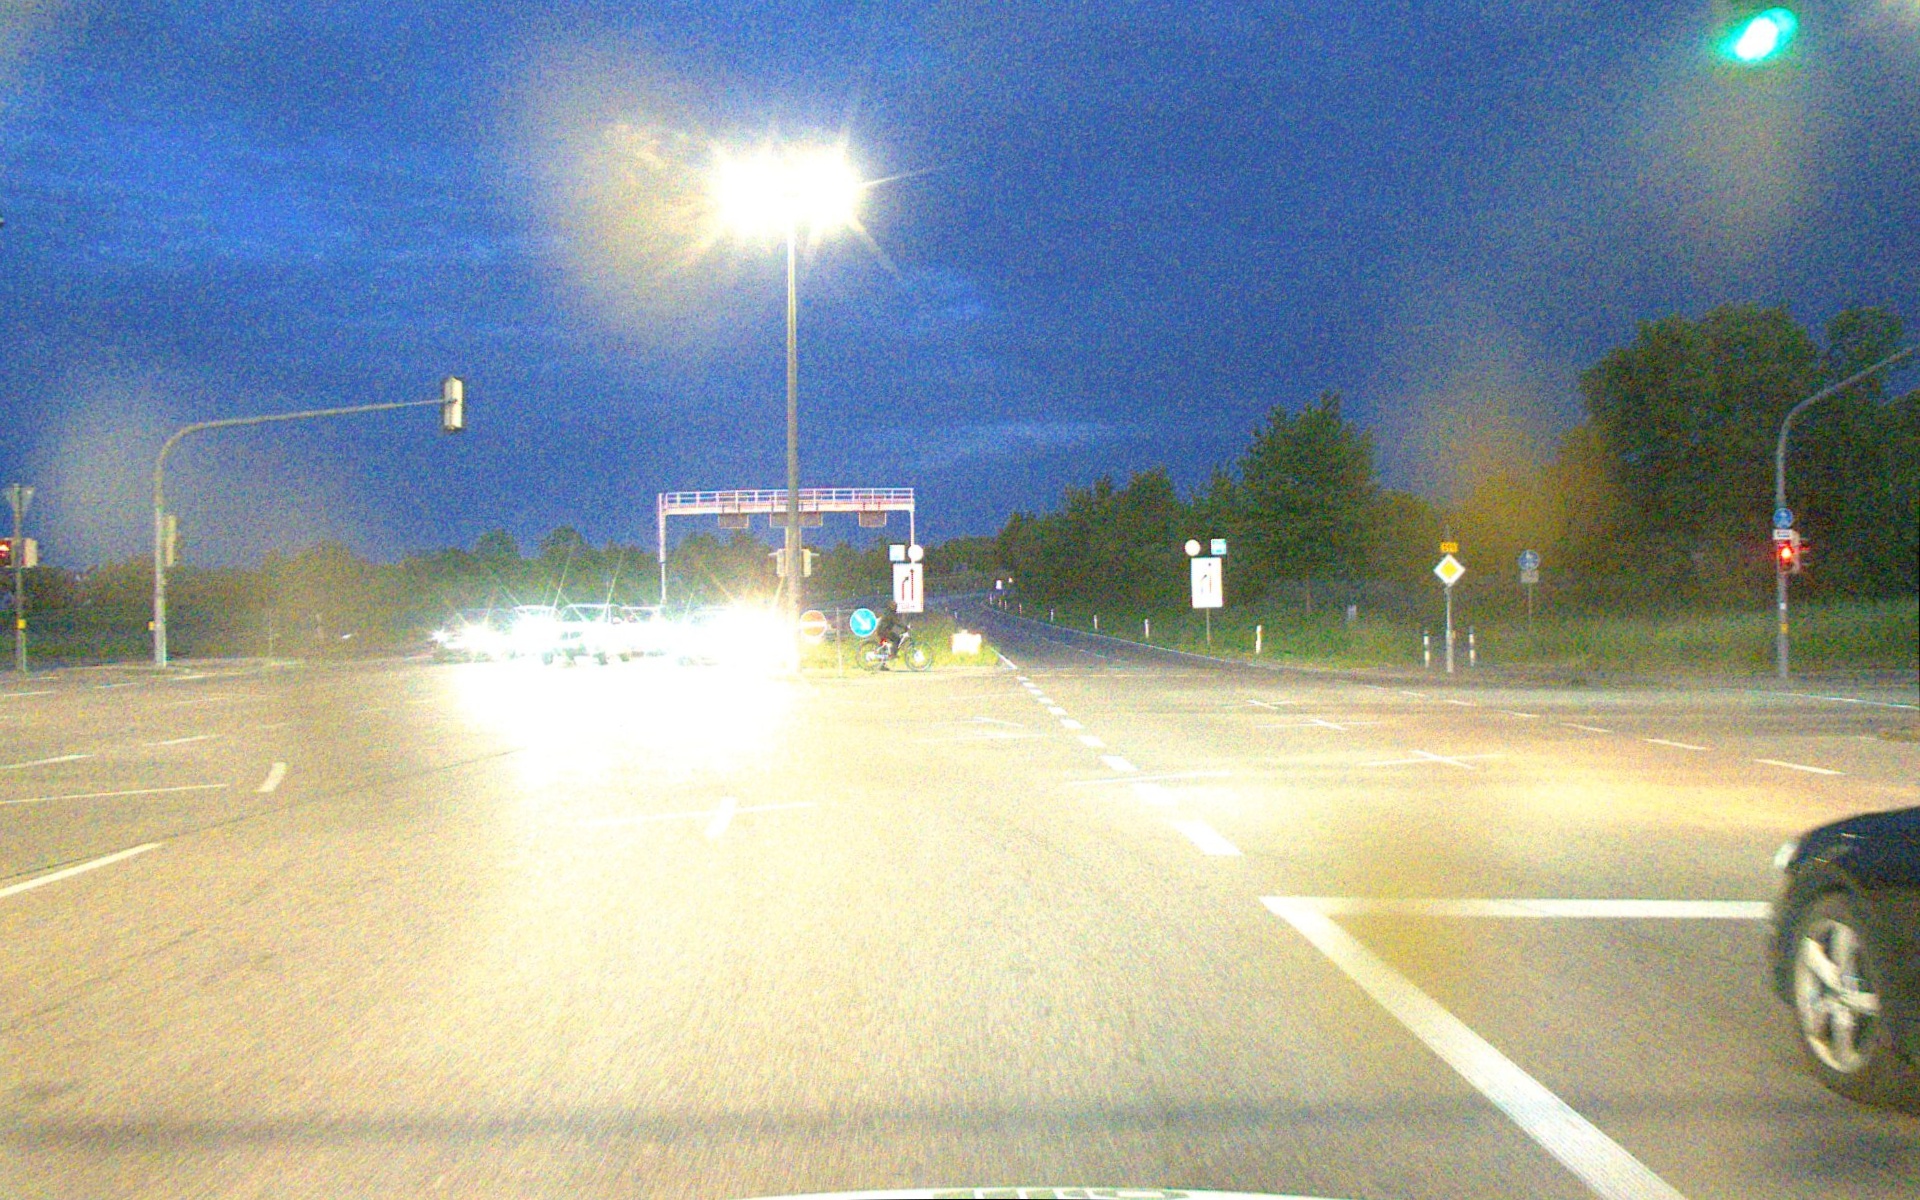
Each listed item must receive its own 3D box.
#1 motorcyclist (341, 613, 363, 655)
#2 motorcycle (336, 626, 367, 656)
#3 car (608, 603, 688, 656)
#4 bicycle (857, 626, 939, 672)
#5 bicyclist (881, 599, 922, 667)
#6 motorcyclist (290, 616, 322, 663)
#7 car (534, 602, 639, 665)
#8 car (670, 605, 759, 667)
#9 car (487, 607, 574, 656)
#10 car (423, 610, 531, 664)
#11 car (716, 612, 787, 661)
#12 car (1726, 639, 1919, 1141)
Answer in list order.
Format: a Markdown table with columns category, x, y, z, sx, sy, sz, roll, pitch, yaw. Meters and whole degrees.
| category | x | y | z | sx | sy | sz | roll | pitch | yaw |
| --- | --- | --- | --- | --- | --- | --- | --- | --- | --- |
| motorcyclist | -26.880 | 1.503 | 73.078 | 0.669 | 1.790 | 0.789 | -3 | -3 | -7 |
| motorcycle | -26.858 | 1.820 | 73.061 | 0.831 | 1.202 | 1.818 | -4 | -3 | -7 |
| car | -10.203 | 0.934 | 54.406 | 1.709 | 1.655 | 4.363 | 0 | 0 | 1 |
| bicycle | -1.548 | 1.208 | 41.196 | 2.021 | 1.120 | 0.694 | 0 | -1 | -6 |
| bicyclist | -1.458 | 0.822 | 41.225 | 0.977 | 1.680 | 0.603 | 0 | -1 | -6 |
| motorcyclist | -27.165 | 1.643 | 68.660 | 0.896 | 1.840 | 0.870 | -4 | -3 | -2 |
| car | -10.568 | 0.912 | 47.099 | 1.869 | 1.712 | 4.420 | 1 | 0 | 1 |
| car | -6.965 | 0.980 | 47.299 | 1.813 | 1.661 | 4.585 | 0 | 0 | 0 |
| car | -14.121 | 1.003 | 54.520 | 1.794 | 1.551 | 4.000 | 0 | 0 | 0 |
| car | -14.008 | 1.045 | 48.191 | 1.743 | 1.471 | 4.292 | 1 | 0 | 2 |
| car | -6.921 | 1.190 | 55.210 | 1.736 | 1.507 | 3.910 | 1 | 0 | 1 |
| car | 3.737 | 0.864 | 3.832 | 1.754 | 1.469 | 4.532 | 1 | -1 | -1 |
